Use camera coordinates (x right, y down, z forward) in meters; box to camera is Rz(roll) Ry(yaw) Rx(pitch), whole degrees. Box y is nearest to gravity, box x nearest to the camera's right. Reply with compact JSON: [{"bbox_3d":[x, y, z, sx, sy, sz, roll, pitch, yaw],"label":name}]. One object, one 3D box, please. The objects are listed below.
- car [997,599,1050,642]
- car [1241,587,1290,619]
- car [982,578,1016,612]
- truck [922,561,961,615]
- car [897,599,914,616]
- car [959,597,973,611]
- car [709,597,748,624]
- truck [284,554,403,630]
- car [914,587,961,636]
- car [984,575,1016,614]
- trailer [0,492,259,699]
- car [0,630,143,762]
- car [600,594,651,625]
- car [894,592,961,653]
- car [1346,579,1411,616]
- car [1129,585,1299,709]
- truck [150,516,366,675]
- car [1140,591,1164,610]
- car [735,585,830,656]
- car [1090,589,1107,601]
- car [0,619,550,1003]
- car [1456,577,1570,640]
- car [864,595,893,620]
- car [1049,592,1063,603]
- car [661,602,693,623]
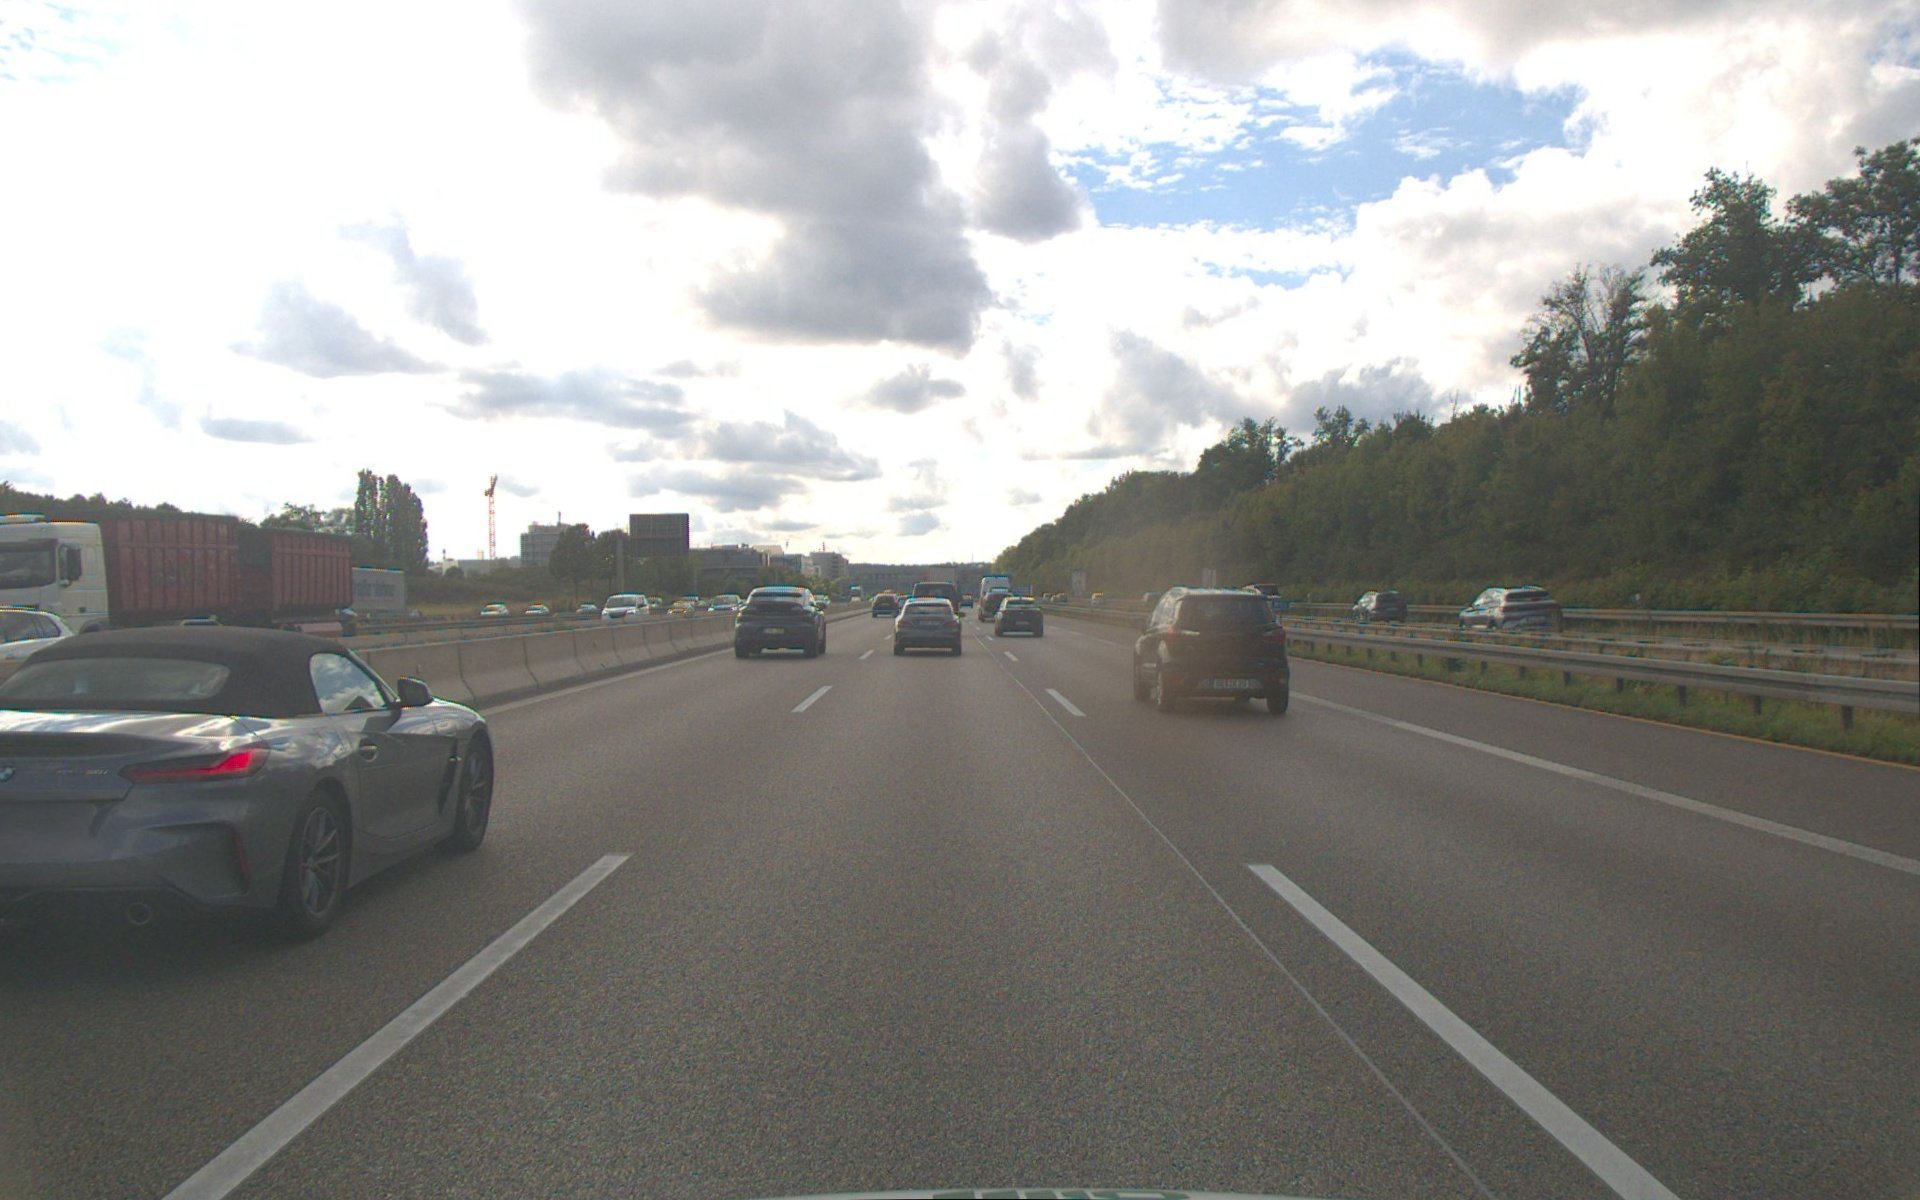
[{"bbox_3d":[2.377,0.760,63.169,1.795,1.547,4.224,0,0,-1],"label":"car"},{"bbox_3d":[15.454,0.134,83.850,1.563,1.573,4.188,0,0,-2],"label":"car"},{"bbox_3d":[2.280,-0.296,97.378,1.874,1.952,4.029,0,0,-1],"label":"car"},{"bbox_3d":[-1.585,-1.014,143.910,3.196,4.451,11.024,1,0,-1],"label":"truck"},{"bbox_3d":[-5.277,0.731,160.111,1.663,1.639,4.113,0,0,-1],"label":"car"},{"bbox_3d":[0.821,0.531,212.879,1.716,1.725,4.189,0,0,-1],"label":"car"},{"bbox_3d":[-13.858,0.595,99.192,1.727,1.559,4.941,0,0,-1],"label":"car"},{"bbox_3d":[-42.009,-0.525,113.338,3.011,4.887,14.125,0,0,-1],"label":"truck"},{"bbox_3d":[-0.834,0.415,61.558,1.686,1.754,4.390,0,0,-1],"label":"car"},{"bbox_3d":[2.497,-0.356,104.163,1.835,2.399,4.281,0,0,-1],"label":"car"},{"bbox_3d":[-20.701,-0.110,40.195,2.985,4.364,10.652,-1,0,-1],"label":"trailer"},{"bbox_3d":[-12.617,1.218,21.611,1.654,1.531,4.642,-1,0,-1],"label":"car"},{"bbox_3d":[-17.096,0.450,84.793,1.728,1.559,4.941,0,0,-2],"label":"car"},{"bbox_3d":[-0.840,0.557,43.464,1.686,1.505,4.390,0,0,-1],"label":"car"},{"bbox_3d":[19.166,-0.112,75.876,1.694,1.573,4.304,-2,0,-2],"label":"car"},{"bbox_3d":[3.477,0.598,23.302,1.663,1.592,4.113,0,0,-1],"label":"car"},{"bbox_3d":[-20.909,-0.153,49.911,2.985,4.364,8.586,-1,0,-1],"label":"truck"},{"bbox_3d":[17.874,0.056,154.220,1.716,1.725,4.189,0,0,-1],"label":"car"},{"bbox_3d":[-4.358,0.463,41.338,1.873,1.664,5.499,0,0,-1],"label":"car"},{"bbox_3d":[17.685,-0.647,210.839,1.717,1.543,4.189,0,0,-2],"label":"car"},{"bbox_3d":[-3.616,0.804,8.549,1.835,1.325,4.941,0,0,-1],"label":"car"},{"bbox_3d":[16.136,0.217,48.499,1.809,1.679,4.305,-2,0,-1],"label":"car"},{"bbox_3d":[-5.658,0.527,114.854,1.835,1.727,4.071,0,0,-1],"label":"car"},{"bbox_3d":[13.531,-0.318,233.062,1.694,1.560,4.451,-1,0,-1],"label":"car"},{"bbox_3d":[-21.800,0.978,127.612,1.727,1.559,4.716,0,0,-1],"label":"car"}]
